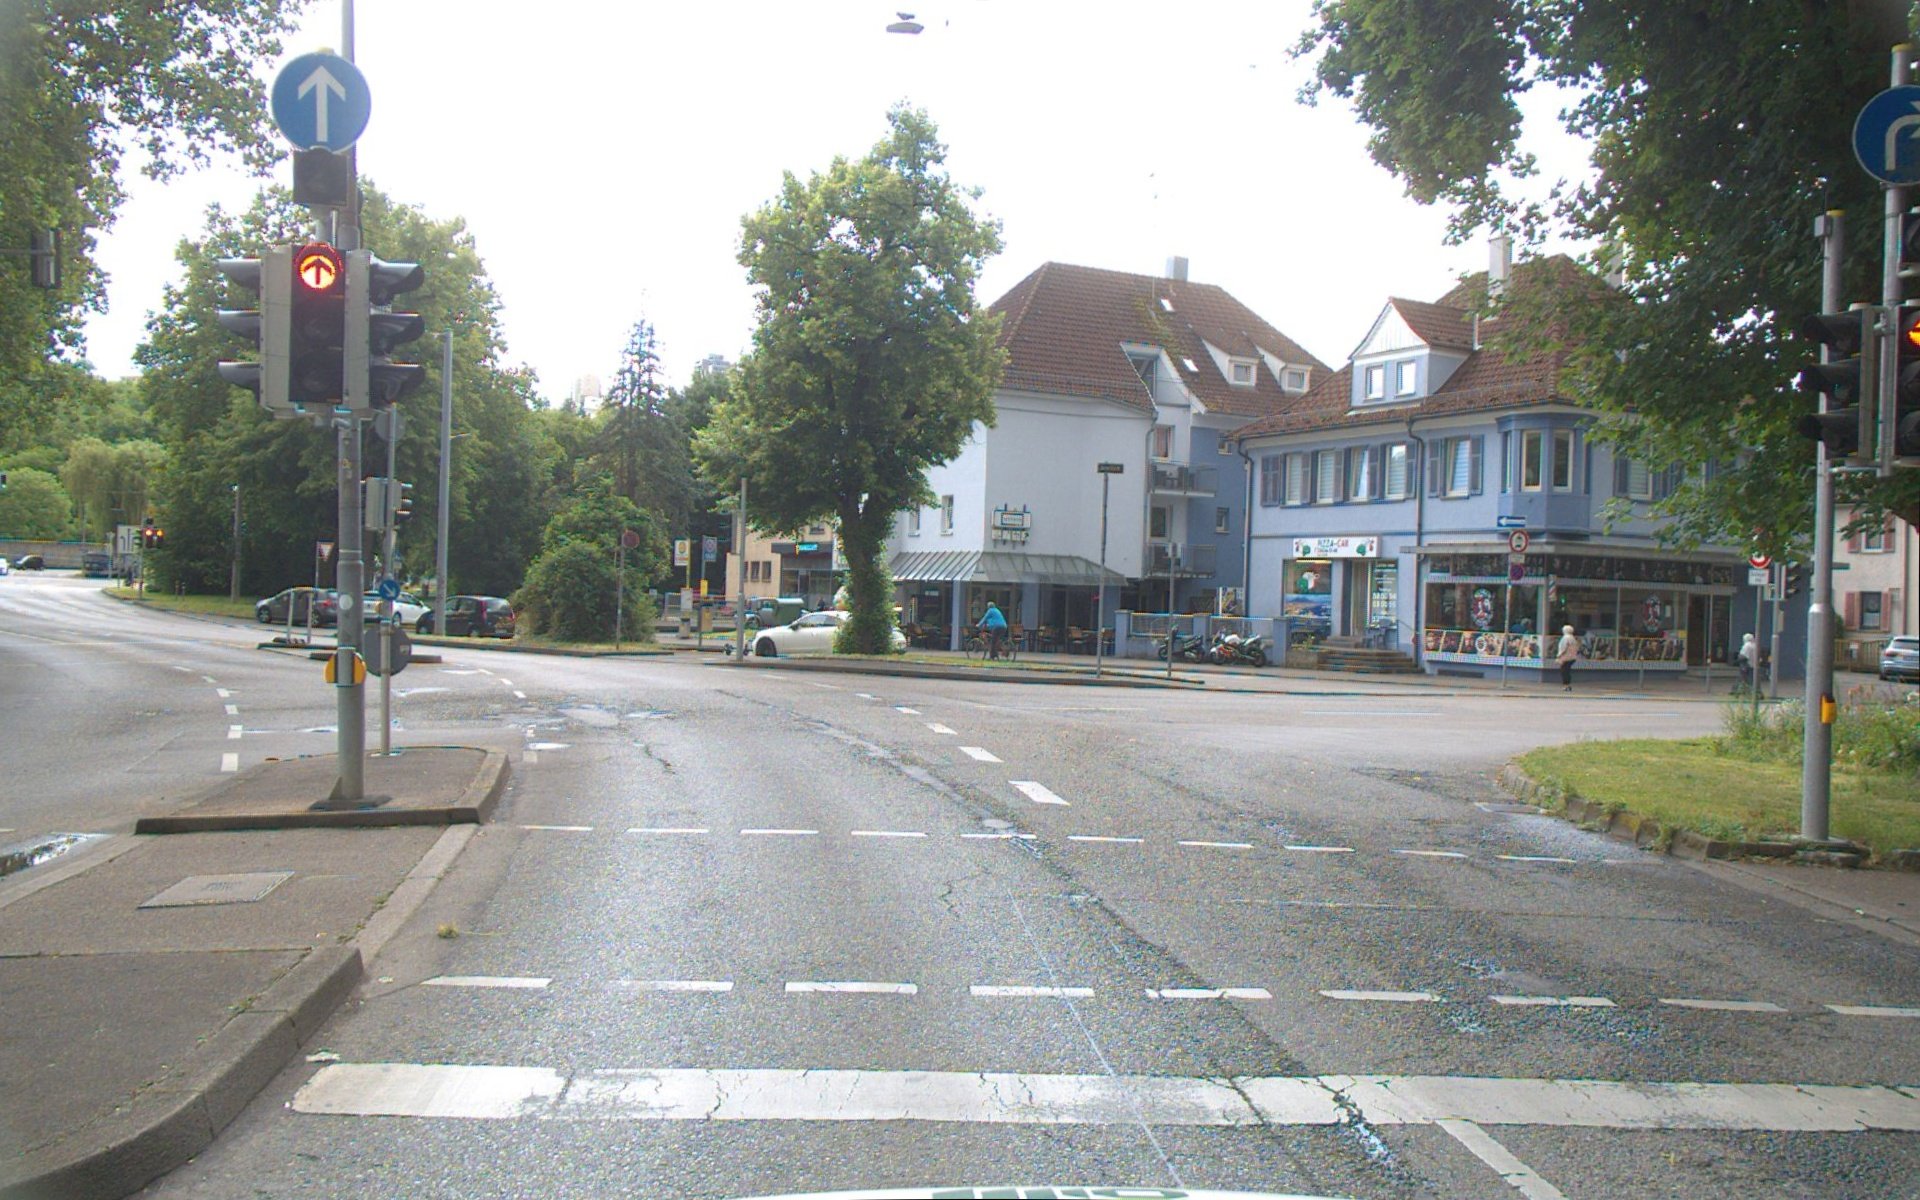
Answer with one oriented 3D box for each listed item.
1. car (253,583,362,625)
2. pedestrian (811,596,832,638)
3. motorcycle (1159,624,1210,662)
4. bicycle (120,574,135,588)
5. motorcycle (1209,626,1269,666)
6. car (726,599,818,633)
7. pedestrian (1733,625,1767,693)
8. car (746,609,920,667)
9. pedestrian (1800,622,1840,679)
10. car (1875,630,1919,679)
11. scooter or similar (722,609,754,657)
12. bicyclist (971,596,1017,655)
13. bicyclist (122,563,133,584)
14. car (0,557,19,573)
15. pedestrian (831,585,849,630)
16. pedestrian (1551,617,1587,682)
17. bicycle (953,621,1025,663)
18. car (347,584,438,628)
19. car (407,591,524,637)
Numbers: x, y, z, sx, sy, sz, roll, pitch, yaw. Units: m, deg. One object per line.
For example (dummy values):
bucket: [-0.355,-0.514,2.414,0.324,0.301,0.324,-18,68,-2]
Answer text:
car: [-25.009,0.150,63.421,3.695,1.491,1.622,1,0,18]
pedestrian: [-6.733,0.824,80.572,0.823,2.049,1.052,1,0,-15]
motorcycle: [6.813,1.289,50.212,1.430,1.107,0.522,1,0,35]
bicycle: [-56.775,-1.290,112.795,0.547,0.975,2.024,1,0,-17]
motorcycle: [8.167,1.340,48.463,1.595,1.107,0.625,1,0,32]
car: [-8.583,0.731,75.481,3.880,1.467,1.742,1,0,-21]
pedestrian: [18.629,1.380,39.000,0.681,1.587,0.665,0,-1,30]
car: [-3.533,1.022,45.685,4.618,1.435,1.896,1,0,35]
pedestrian: [24.007,1.409,46.197,0.659,1.587,0.743,1,-1,-15]
car: [29.697,1.691,51.694,1.849,1.415,3.608,1,0,28]
scooter or similar: [-5.701,0.829,42.510,0.433,1.195,1.439,1,0,8]
bicyclist: [0.994,0.725,47.886,0.968,1.680,0.916,1,0,32]
bicyclist: [-56.734,-1.796,112.676,0.531,1.365,0.710,1,0,-18]
car: [-88.761,-3.249,153.581,2.971,1.442,1.492,0,-2,41]
pedestrian: [-4.289,0.272,59.169,0.531,1.587,0.468,0,-1,13]
pedestrian: [15.055,1.220,40.877,0.717,1.587,0.767,0,-1,30]
bicycle: [0.836,1.203,47.970,1.911,1.169,0.874,1,0,32]
car: [-22.734,0.256,66.404,1.821,1.668,3.757,1,0,10]
car: [-15.915,0.446,53.264,3.252,1.376,1.778,1,0,27]
